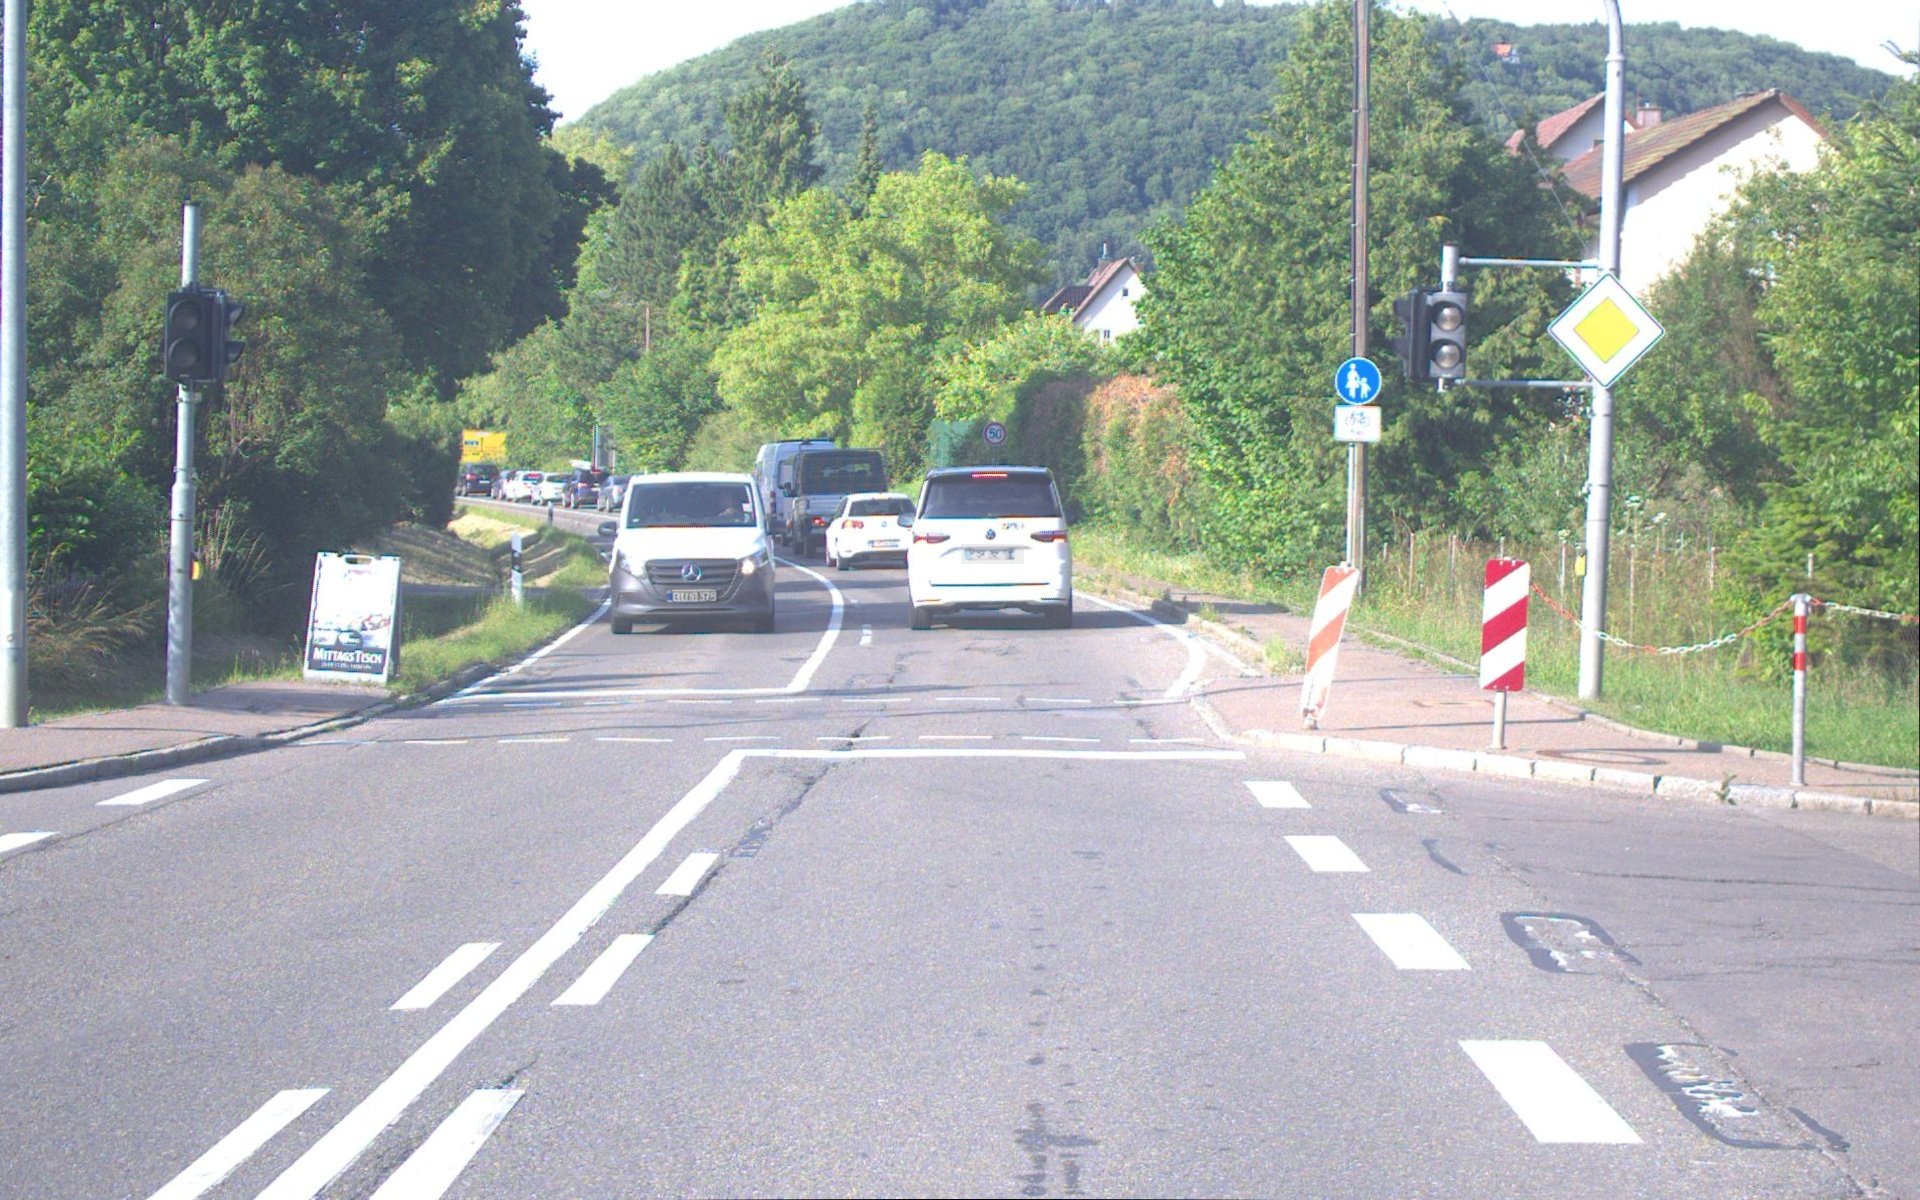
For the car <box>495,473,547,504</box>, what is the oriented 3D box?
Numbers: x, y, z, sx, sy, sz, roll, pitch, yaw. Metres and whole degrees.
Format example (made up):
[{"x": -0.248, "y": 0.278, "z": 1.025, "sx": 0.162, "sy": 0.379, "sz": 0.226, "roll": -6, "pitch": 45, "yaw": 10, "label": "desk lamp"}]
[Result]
[{"x": -20.381, "y": -5.164, "z": 159.466, "sx": 1.941, "sy": 1.419, "sz": 4.002, "roll": 0, "pitch": 2, "yaw": -14, "label": "car"}]

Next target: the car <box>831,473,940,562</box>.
[{"x": -1.486, "y": -1.631, "z": 67.143, "sx": 1.993, "sy": 1.678, "sz": 4.001, "roll": 0, "pitch": 2, "yaw": -3, "label": "car"}]

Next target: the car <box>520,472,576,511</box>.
[{"x": -18.039, "y": -4.731, "z": 150.430, "sx": 1.941, "sy": 1.678, "sz": 4.001, "roll": -1, "pitch": 2, "yaw": -14, "label": "car"}]

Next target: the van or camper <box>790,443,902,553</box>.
[{"x": -2.583, "y": -2.294, "z": 76.651, "sx": 2.179, "sy": 2.377, "sz": 5.371, "roll": 0, "pitch": 2, "yaw": -5, "label": "van or camper"}]

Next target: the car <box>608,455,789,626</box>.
[{"x": -3.088, "y": -0.773, "z": 41.522, "sx": 1.993, "sy": 1.897, "sz": 5.254, "roll": -1, "pitch": 2, "yaw": -3, "label": "car"}]

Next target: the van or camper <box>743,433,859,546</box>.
[{"x": -4.278, "y": -2.961, "z": 91.361, "sx": 2.414, "sy": 2.894, "sz": 6.133, "roll": 0, "pitch": 2, "yaw": -9, "label": "van or camper"}]

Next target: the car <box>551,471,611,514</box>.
[{"x": -15.675, "y": -4.456, "z": 141.951, "sx": 2.040, "sy": 1.678, "sz": 4.002, "roll": 0, "pitch": 3, "yaw": -12, "label": "car"}]

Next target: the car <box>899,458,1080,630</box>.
[{"x": 0.336, "y": -0.736, "z": 41.550, "sx": 1.993, "sy": 1.870, "sz": 4.871, "roll": 2, "pitch": 3, "yaw": 0, "label": "car"}]

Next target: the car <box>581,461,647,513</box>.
[{"x": -13.415, "y": -4.390, "z": 133.131, "sx": 1.993, "sy": 2.006, "sz": 4.002, "roll": 0, "pitch": 2, "yaw": -14, "label": "car"}]

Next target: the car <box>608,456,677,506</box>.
[{"x": -11.683, "y": -4.370, "z": 126.195, "sx": 1.796, "sy": 1.787, "sz": 4.002, "roll": 0, "pitch": 2, "yaw": -16, "label": "car"}]

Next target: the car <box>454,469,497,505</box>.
[{"x": -24.910, "y": -5.808, "z": 176.628, "sx": 1.771, "sy": 1.776, "sz": 4.001, "roll": -1, "pitch": 2, "yaw": -14, "label": "car"}]
